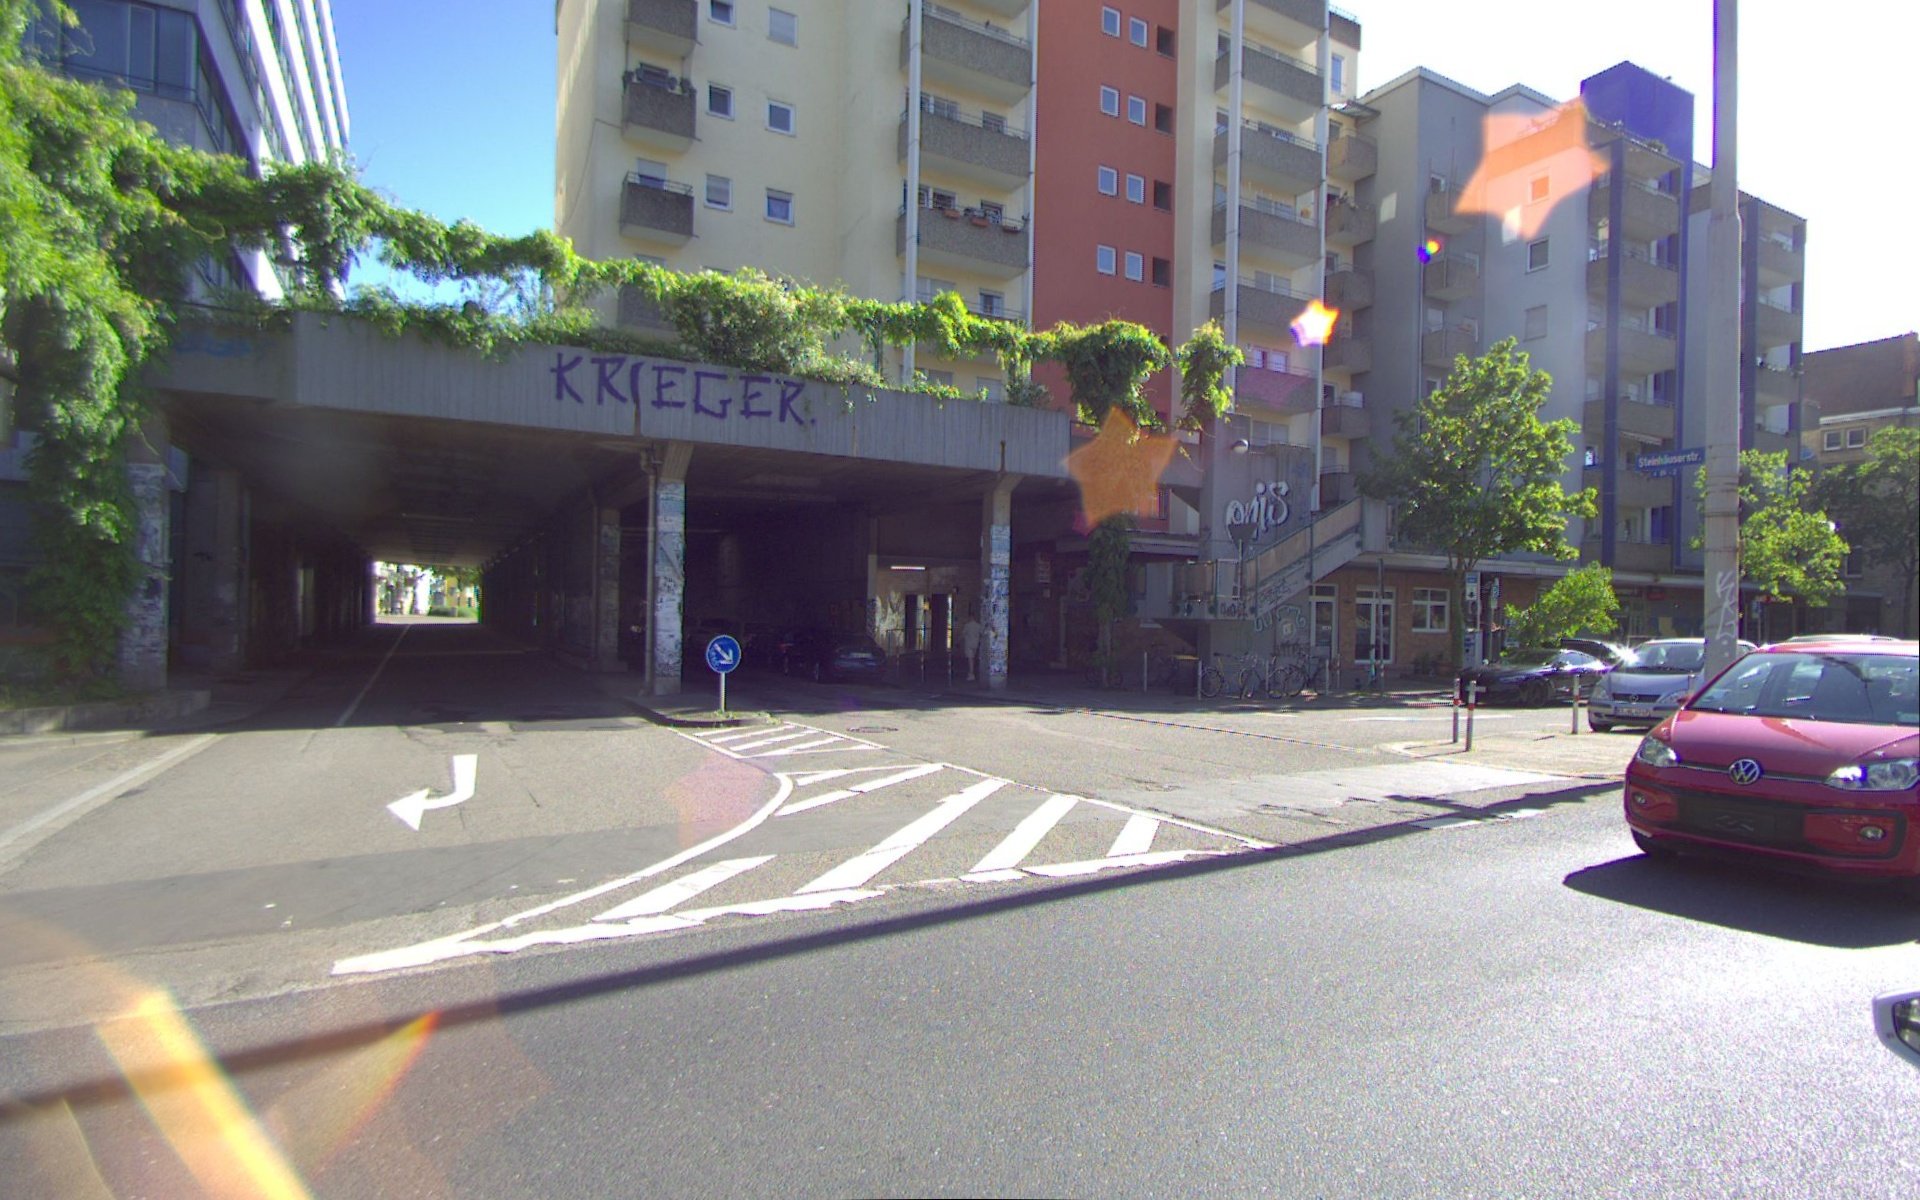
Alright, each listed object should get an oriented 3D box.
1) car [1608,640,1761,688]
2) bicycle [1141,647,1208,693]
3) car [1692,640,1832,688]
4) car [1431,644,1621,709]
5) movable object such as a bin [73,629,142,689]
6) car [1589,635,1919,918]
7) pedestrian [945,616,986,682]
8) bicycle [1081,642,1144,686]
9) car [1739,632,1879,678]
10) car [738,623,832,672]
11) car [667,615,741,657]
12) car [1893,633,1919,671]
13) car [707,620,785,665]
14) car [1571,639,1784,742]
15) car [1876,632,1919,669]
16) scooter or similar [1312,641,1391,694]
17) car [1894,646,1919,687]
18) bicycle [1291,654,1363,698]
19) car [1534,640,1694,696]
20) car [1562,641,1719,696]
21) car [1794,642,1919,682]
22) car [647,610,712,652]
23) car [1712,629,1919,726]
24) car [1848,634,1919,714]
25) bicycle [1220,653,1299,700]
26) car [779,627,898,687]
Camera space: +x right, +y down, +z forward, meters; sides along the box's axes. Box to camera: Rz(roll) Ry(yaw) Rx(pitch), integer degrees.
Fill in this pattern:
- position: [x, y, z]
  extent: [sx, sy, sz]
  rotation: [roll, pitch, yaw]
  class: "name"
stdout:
- position: [24.873, 2.163, 34.621]
  extent: [1.669, 1.443, 3.965]
  rotation: [2, -1, -32]
  class: "car"
- position: [5.303, 1.711, 24.866]
  extent: [1.592, 1.014, 0.413]
  rotation: [2, 2, 39]
  class: "bicycle"
- position: [31.107, 2.451, 39.069]
  extent: [1.669, 1.651, 3.965]
  rotation: [2, -1, -32]
  class: "car"
- position: [13.731, 1.802, 24.327]
  extent: [4.471, 1.416, 1.884]
  rotation: [2, -2, -27]
  class: "car"
- position: [-13.517, 0.923, 15.954]
  extent: [0.710, 0.917, 0.636]
  rotation: [2, -1, -31]
  class: "movable object such as a bin"
- position: [6.096, 0.989, 6.839]
  extent: [3.465, 1.447, 1.644]
  rotation: [2, -1, -30]
  class: "car"
- position: [0.155, 1.320, 27.293]
  extent: [0.787, 1.722, 0.751]
  rotation: [2, 1, -30]
  class: "pedestrian"
- position: [3.873, 1.629, 25.690]
  extent: [0.480, 1.014, 1.783]
  rotation: [0, 0, -36]
  class: "bicycle"
- position: [33.675, 2.158, 39.930]
  extent: [1.669, 1.651, 3.965]
  rotation: [2, -1, -32]
  class: "car"
- position: [-5.696, 1.489, 32.401]
  extent: [1.746, 1.429, 4.032]
  rotation: [1, -1, -29]
  class: "car"
- position: [-10.284, 1.413, 40.147]
  extent: [1.716, 1.566, 4.120]
  rotation: [2, -1, -31]
  class: "car"
- position: [46.280, 2.465, 46.658]
  extent: [1.865, 1.793, 3.966]
  rotation: [2, -1, -31]
  class: "car"
- position: [-7.824, 1.508, 36.524]
  extent: [1.591, 1.507, 3.605]
  rotation: [2, -1, -33]
  class: "car"
- position: [12.073, 1.444, 16.876]
  extent: [3.492, 1.538, 1.710]
  rotation: [2, -2, -32]
  class: "car"
- position: [44.550, 2.349, 45.697]
  extent: [1.669, 1.651, 3.965]
  rotation: [2, -1, -32]
  class: "car"
- position: [10.444, 1.783, 26.855]
  extent: [0.624, 1.294, 1.955]
  rotation: [1, -1, -33]
  class: "scooter or similar"
- position: [36.870, 2.497, 37.606]
  extent: [3.952, 1.489, 1.679]
  rotation: [2, -1, -29]
  class: "car"
- position: [9.013, 1.864, 24.669]
  extent: [1.774, 1.014, 0.413]
  rotation: [1, 2, -20]
  class: "bicycle"
- position: [20.896, 2.135, 32.256]
  extent: [1.750, 1.571, 3.965]
  rotation: [2, -1, -32]
  class: "car"
- position: [22.588, 2.226, 33.494]
  extent: [1.821, 1.629, 3.965]
  rotation: [2, -1, -32]
  class: "car"
- position: [37.862, 2.561, 42.275]
  extent: [1.590, 1.489, 3.965]
  rotation: [2, -1, -32]
  class: "car"
- position: [-12.627, 1.356, 45.031]
  extent: [1.836, 1.688, 4.337]
  rotation: [2, -1, -29]
  class: "car"
- position: [16.491, 1.408, 19.095]
  extent: [4.449, 1.649, 1.860]
  rotation: [2, -2, -29]
  class: "car"
- position: [22.051, 1.635, 22.513]
  extent: [4.476, 1.683, 1.880]
  rotation: [2, -3, -30]
  class: "car"
- position: [7.023, 1.791, 23.552]
  extent: [1.771, 1.045, 0.414]
  rotation: [1, 2, -13]
  class: "bicycle"
- position: [-3.481, 1.536, 28.039]
  extent: [1.834, 1.451, 4.576]
  rotation: [3, -2, -27]
  class: "car"
